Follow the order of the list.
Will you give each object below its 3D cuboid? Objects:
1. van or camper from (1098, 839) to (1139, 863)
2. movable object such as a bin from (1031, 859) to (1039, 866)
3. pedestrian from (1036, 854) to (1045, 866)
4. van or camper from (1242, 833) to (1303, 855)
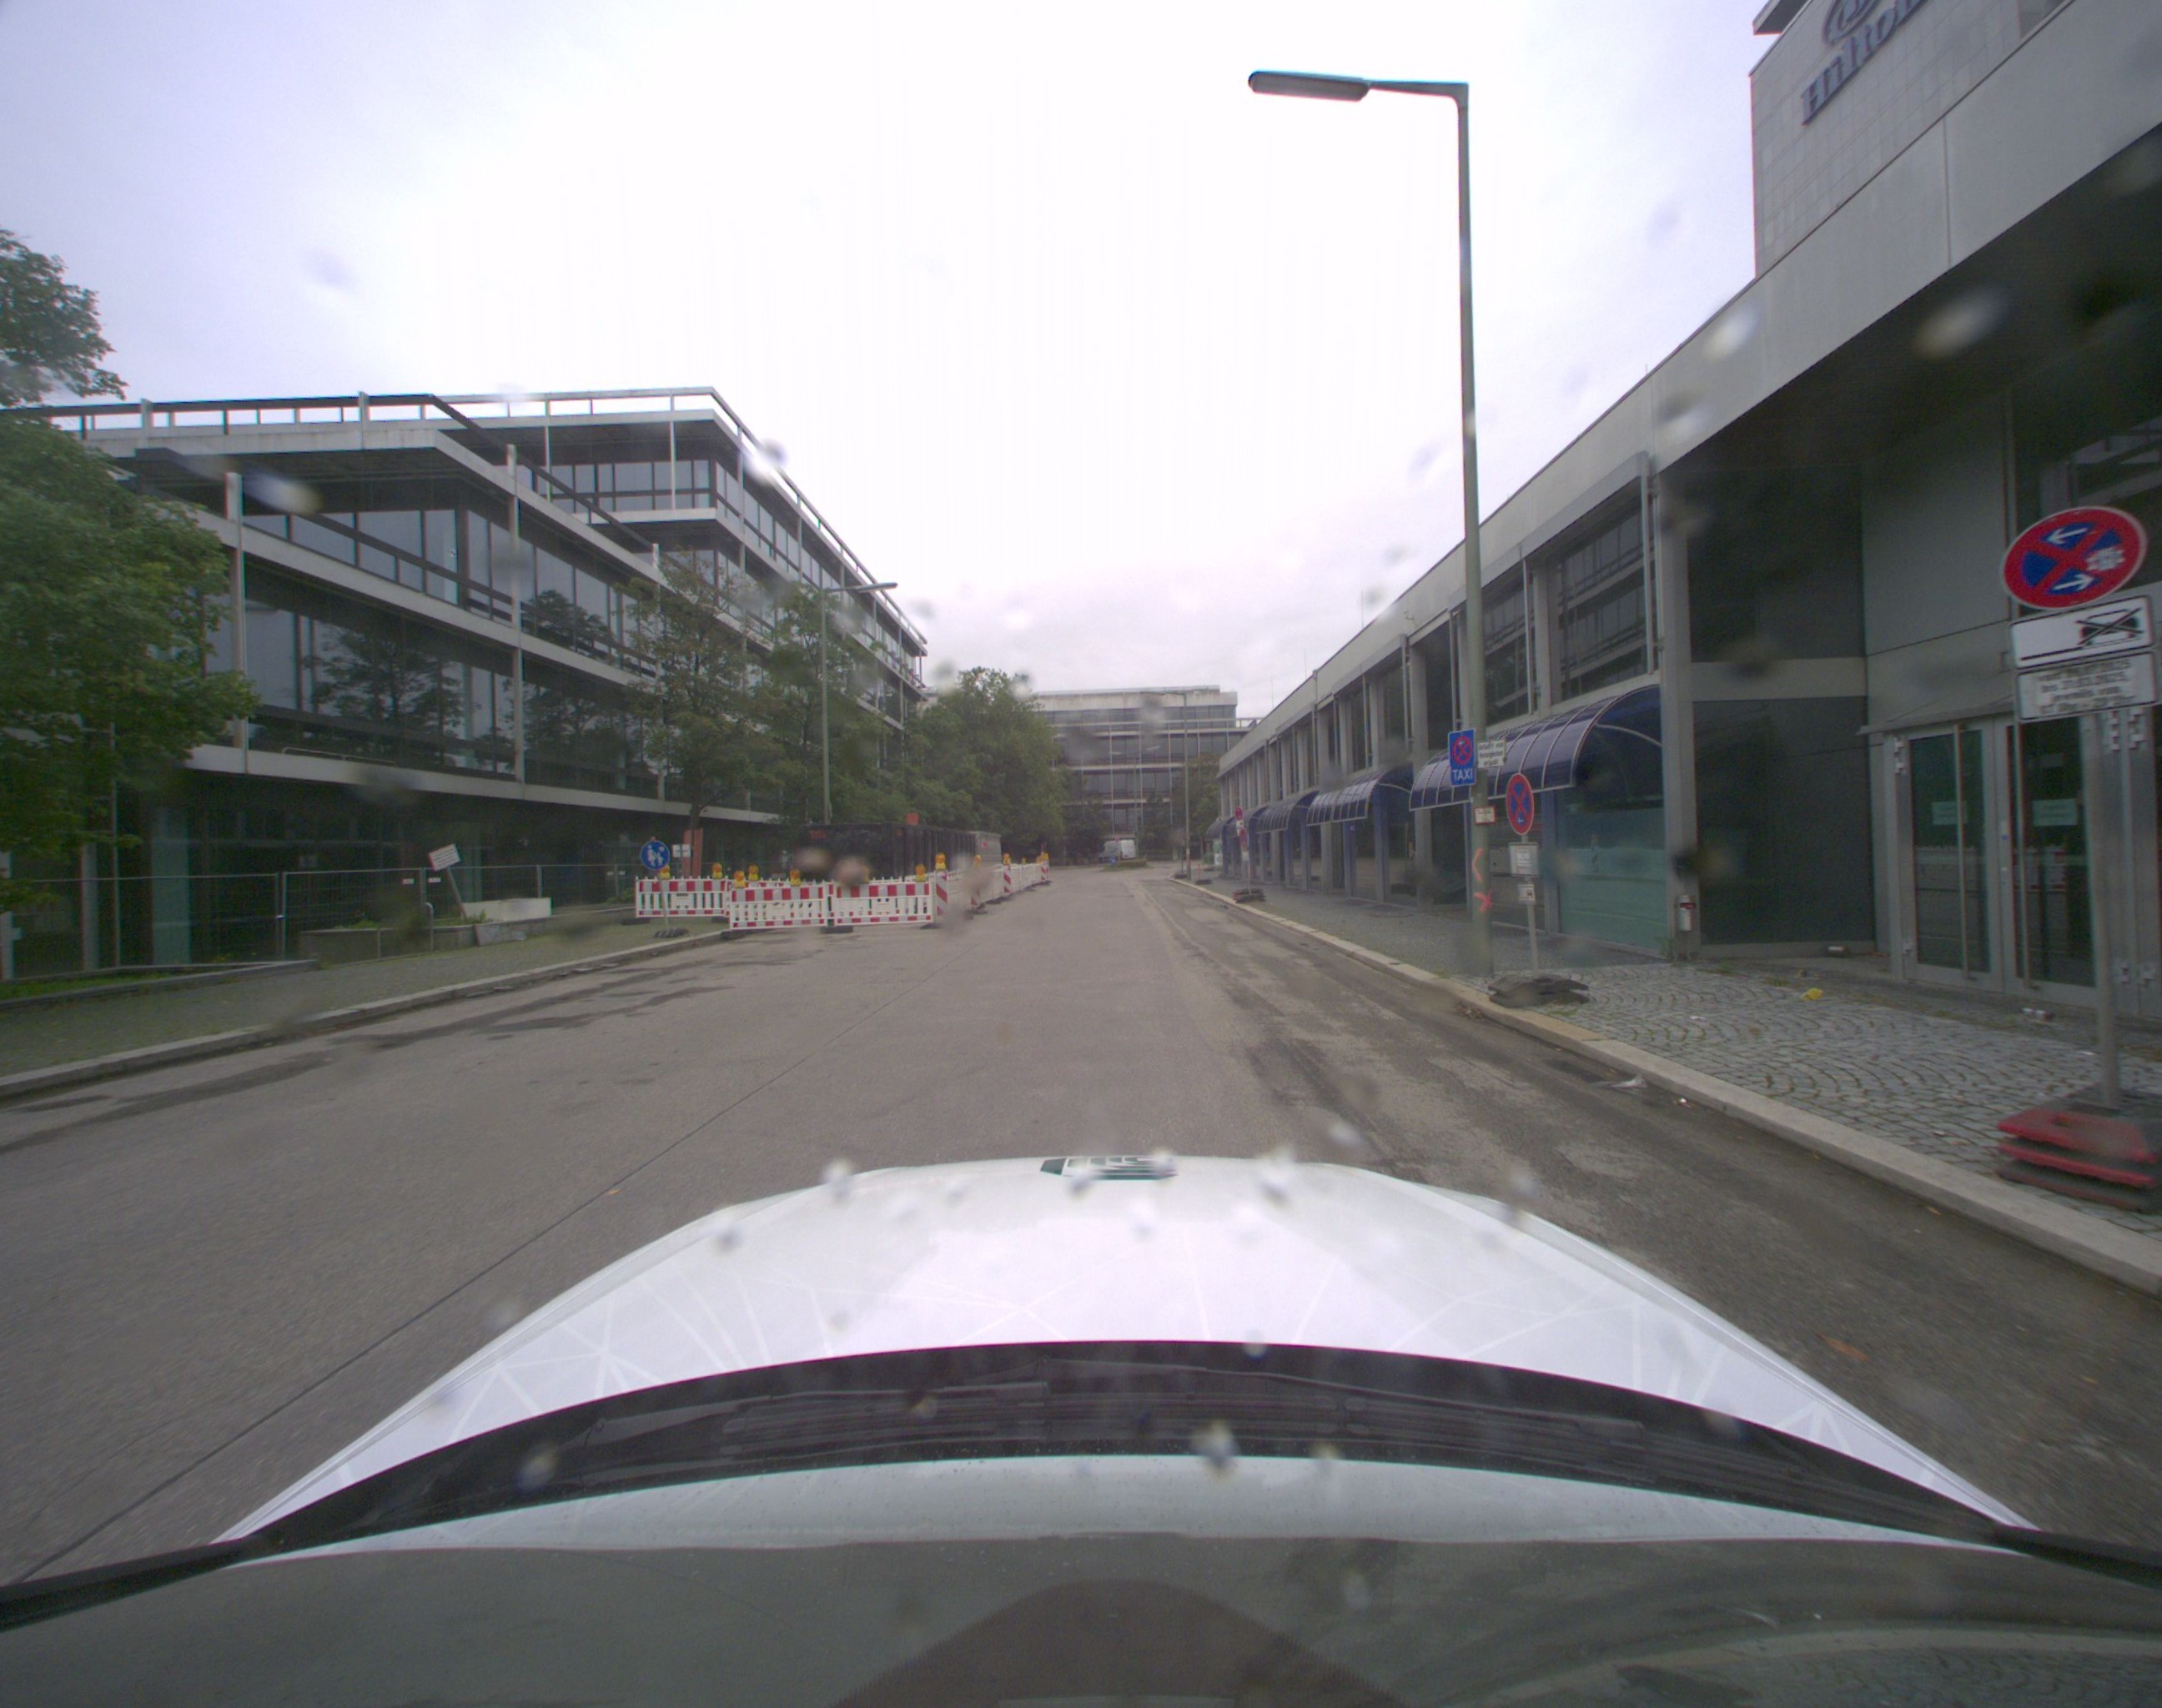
[{"bbox_3d":[4.396,-0.316,96.186,2.165,2.581,6.487,-1,-2,-23],"label":"van or camper"},{"bbox_3d":[-5.278,0.972,94.257,0.830,0.753,0.573,-1,0,4],"label":"movable object such as a bin"},{"bbox_3d":[-4.718,0.707,94.279,0.922,1.278,0.542,-1,0,4],"label":"pedestrian"},{"bbox_3d":[21.835,-1.085,92.740,6.403,2.281,2.246,-2,0,-12],"label":"van or camper"}]
